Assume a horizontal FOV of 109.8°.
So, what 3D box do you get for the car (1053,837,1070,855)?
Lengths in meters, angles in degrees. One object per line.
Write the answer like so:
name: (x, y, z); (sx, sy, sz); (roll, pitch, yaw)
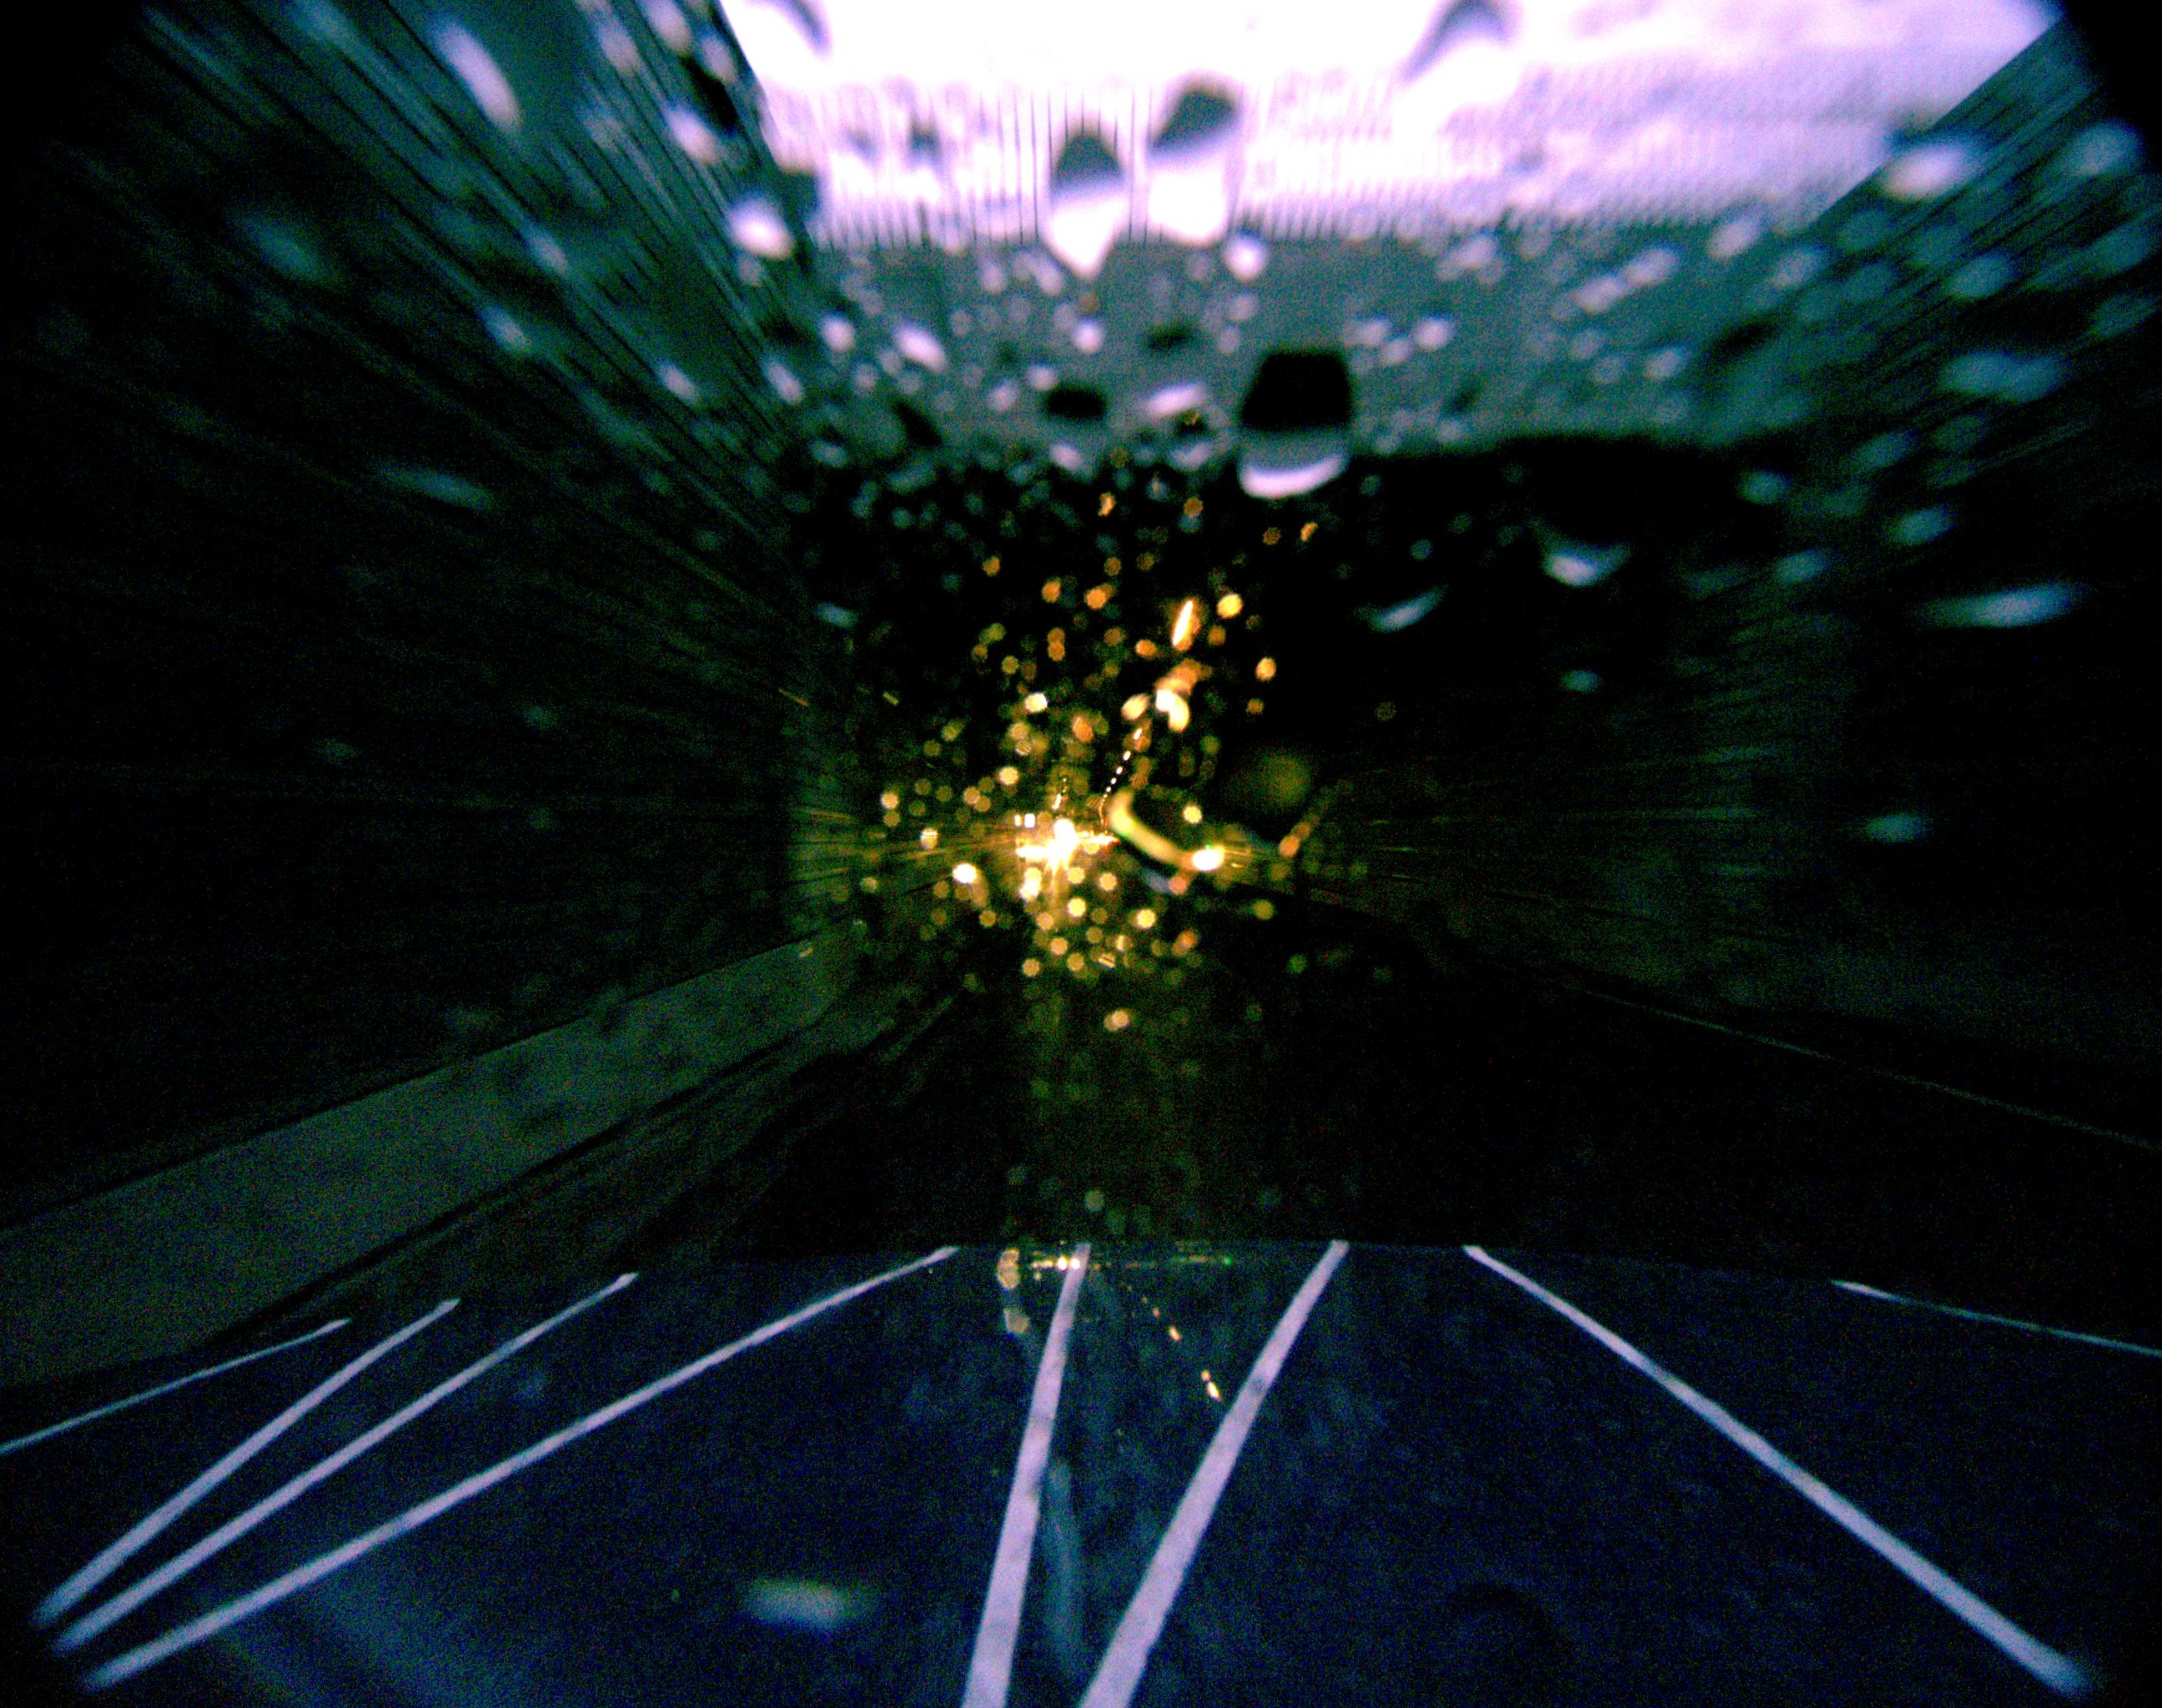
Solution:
car: (-2.408, -1.018, 94.796); (2.031, 2.018, 4.423); (-2, 1, -1)
